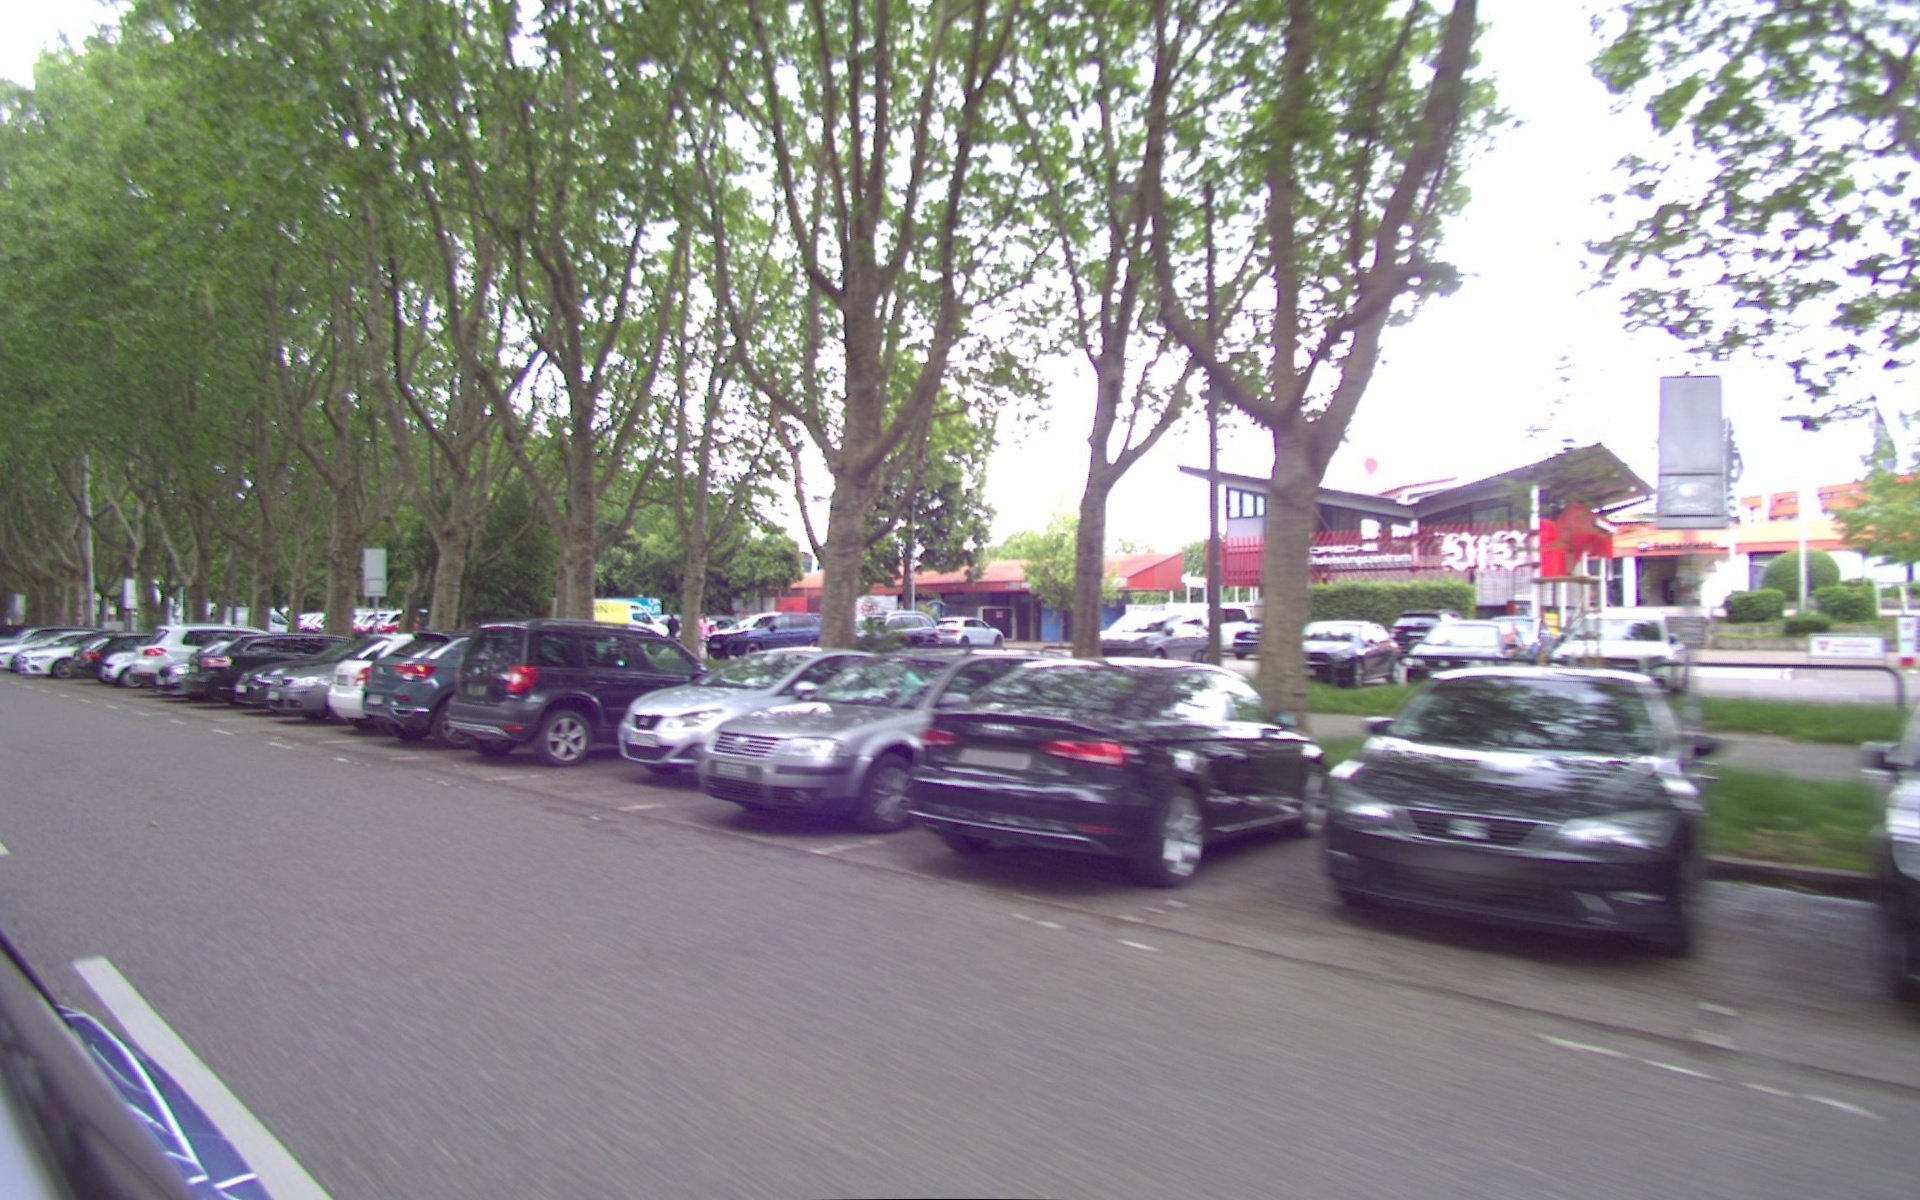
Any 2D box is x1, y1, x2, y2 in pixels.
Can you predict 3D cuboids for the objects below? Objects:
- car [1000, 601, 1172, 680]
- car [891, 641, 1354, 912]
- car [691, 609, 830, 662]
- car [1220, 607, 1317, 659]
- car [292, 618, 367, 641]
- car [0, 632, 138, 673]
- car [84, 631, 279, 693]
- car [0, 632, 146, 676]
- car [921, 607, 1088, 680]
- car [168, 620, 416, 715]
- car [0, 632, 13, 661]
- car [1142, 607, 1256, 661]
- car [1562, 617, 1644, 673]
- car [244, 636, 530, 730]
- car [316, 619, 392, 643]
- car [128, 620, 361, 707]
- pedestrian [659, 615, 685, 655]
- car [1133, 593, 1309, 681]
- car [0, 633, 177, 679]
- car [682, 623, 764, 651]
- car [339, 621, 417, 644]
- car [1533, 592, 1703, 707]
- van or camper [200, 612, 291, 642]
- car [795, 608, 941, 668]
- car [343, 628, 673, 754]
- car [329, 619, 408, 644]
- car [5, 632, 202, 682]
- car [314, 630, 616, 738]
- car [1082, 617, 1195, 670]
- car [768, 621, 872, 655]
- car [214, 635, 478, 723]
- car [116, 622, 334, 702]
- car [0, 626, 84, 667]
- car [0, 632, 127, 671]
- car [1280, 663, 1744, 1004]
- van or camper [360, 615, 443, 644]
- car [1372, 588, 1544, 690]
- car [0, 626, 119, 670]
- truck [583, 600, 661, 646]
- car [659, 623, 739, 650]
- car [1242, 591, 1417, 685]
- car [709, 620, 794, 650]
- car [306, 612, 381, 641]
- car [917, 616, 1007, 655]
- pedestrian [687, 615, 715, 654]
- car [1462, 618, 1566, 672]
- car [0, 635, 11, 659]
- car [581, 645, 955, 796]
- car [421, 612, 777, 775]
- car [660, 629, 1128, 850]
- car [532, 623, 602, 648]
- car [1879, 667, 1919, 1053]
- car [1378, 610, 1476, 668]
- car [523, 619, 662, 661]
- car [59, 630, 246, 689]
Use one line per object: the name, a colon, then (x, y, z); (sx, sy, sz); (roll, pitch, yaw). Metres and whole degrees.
car: (3.334, 0.989, 25.959); (2.180, 1.810, 4.894); (-2, -2, 38)
car: (1.420, 1.026, 7.367); (1.700, 1.409, 3.894); (-2, -4, 37)
car: (-6.859, 1.276, 35.135); (1.997, 1.734, 4.508); (-1, -4, 38)
car: (10.619, 1.080, 34.686); (1.996, 1.637, 3.951); (-1, -1, 36)
car: (-58.781, 2.764, 94.437); (2.390, 2.036, 5.399); (-1, -4, 38)
car: (-32.951, 1.914, 36.873); (1.722, 1.406, 4.365); (-2, -4, 38)
car: (-21.180, 1.624, 27.641); (1.855, 1.464, 3.945); (-1, -1, 41)
car: (-31.103, 1.849, 34.965); (1.774, 1.435, 4.364); (-2, -4, 39)
car: (1.324, 1.120, 27.864); (2.180, 1.810, 4.894); (-1, -1, 38)
car: (-13.630, 1.292, 20.814); (1.855, 1.695, 3.945); (-1, -1, 41)
car: (-53.696, 2.500, 54.648); (1.847, 1.590, 3.518); (-2, -4, 42)
car: (8.681, 1.156, 36.506); (2.180, 1.810, 4.894); (-1, -1, 38)
car: (17.807, 1.195, 27.941); (1.504, 1.382, 3.948); (-1, -1, 38)
car: (-9.807, 1.373, 17.578); (1.701, 1.431, 3.953); (-2, -4, 39)
car: (-54.286, 2.723, 90.794); (2.390, 2.036, 5.400); (-1, -1, 38)
car: (-15.845, 1.323, 22.563); (1.855, 1.695, 3.945); (-1, -1, 41)
pedestrian: (-13.481, 1.614, 47.313); (0.917, 1.814, 0.808); (-1, -1, 41)
car: (6.162, 0.772, 23.462); (2.180, 1.810, 4.894); (-1, -1, 38)
car: (-28.980, 1.850, 33.658); (1.783, 1.428, 4.360); (-2, -4, 42)
car: (-12.711, 1.973, 54.366); (1.899, 1.407, 3.946); (-2, -1, 40)
car: (-49.200, 2.710, 85.630); (1.997, 1.864, 5.400); (-1, -1, 38)
car: (12.162, 0.842, 18.545); (2.180, 1.810, 4.894); (-2, -2, 38)
van or camper: (-53.801, 1.995, 76.301); (2.241, 2.115, 5.234); (-1, -1, 38)
car: (-2.804, 1.214, 31.656); (1.997, 1.734, 4.508); (-1, -4, 38)
car: (-6.263, 1.211, 14.350); (1.728, 1.528, 3.888); (-2, -4, 42)
car: (-51.021, 2.664, 87.367); (2.473, 2.013, 5.400); (-1, -1, 38)
car: (-27.036, 1.786, 32.082); (2.042, 1.455, 4.370); (-1, -3, 34)
car: (-7.734, 1.270, 16.073); (1.704, 1.497, 3.947); (-2, -4, 45)
car: (6.805, 1.590, 38.202); (2.180, 1.810, 4.894); (-1, -1, 38)
car: (-6.802, 1.806, 49.468); (2.181, 1.532, 4.892); (-1, -1, 39)
car: (-11.644, 1.427, 19.396); (1.842, 1.379, 3.948); (-1, -1, 39)
car: (-17.555, 1.409, 24.291); (1.855, 1.695, 3.945); (-1, -1, 41)
car: (-39.173, 1.913, 41.649); (2.044, 1.639, 4.366); (-2, -4, 38)
car: (-34.695, 1.947, 38.443); (2.044, 1.406, 4.366); (-2, -4, 37)
car: (3.809, 1.124, 6.529); (1.857, 1.377, 4.419); (-2, -4, 39)
van or camper: (-46.649, 2.452, 84.613); (2.327, 2.272, 5.647); (-1, -1, 40)
car: (10.241, 0.718, 20.595); (2.180, 1.810, 4.894); (-1, -1, 38)
car: (-36.379, 1.899, 40.070); (2.044, 1.639, 4.367); (-2, -4, 37)
truck: (-20.954, 1.379, 62.867); (2.374, 2.737, 3.947); (-1, -1, 39)
car: (-14.523, 2.027, 56.452); (1.899, 1.407, 3.946); (-2, -2, 40)
car: (8.154, 0.746, 22.051); (2.180, 1.810, 4.894); (-1, -1, 38)
car: (-10.851, 1.794, 52.803); (1.990, 1.460, 3.946); (-2, -2, 40)
car: (-56.350, 2.399, 92.531); (2.390, 2.536, 5.400); (-1, -1, 38)
car: (0.144, 1.505, 44.291); (1.996, 1.562, 3.983); (-1, -1, 36)
pedestrian: (-12.382, 1.634, 48.395); (0.917, 1.814, 0.932); (-1, -1, 41)
car: (16.173, 1.251, 29.462); (1.998, 1.438, 3.948); (-1, -1, 39)
car: (-59.390, 2.753, 59.877); (2.090, 1.445, 4.515); (-2, -4, 42)
car: (-1.986, 1.218, 11.407); (1.825, 1.375, 3.892); (-2, -4, 39)
car: (-4.389, 1.097, 12.807); (1.750, 1.721, 3.892); (-2, -4, 39)
car: (-0.316, 1.064, 9.162); (1.701, 1.493, 4.419); (-2, -4, 39)
car: (-25.421, 2.291, 65.574); (1.731, 1.519, 3.948); (-1, -1, 39)
car: (5.616, 1.027, 4.717); (1.901, 1.358, 4.415); (-2, -4, 42)
car: (14.460, 1.154, 31.217); (1.996, 1.637, 3.951); (-1, -1, 36)
car: (-15.605, 1.648, 43.283); (2.093, 1.608, 5.295); (-1, -1, 39)
car: (-23.023, 1.650, 28.962); (1.855, 1.464, 3.945); (-1, -1, 41)
